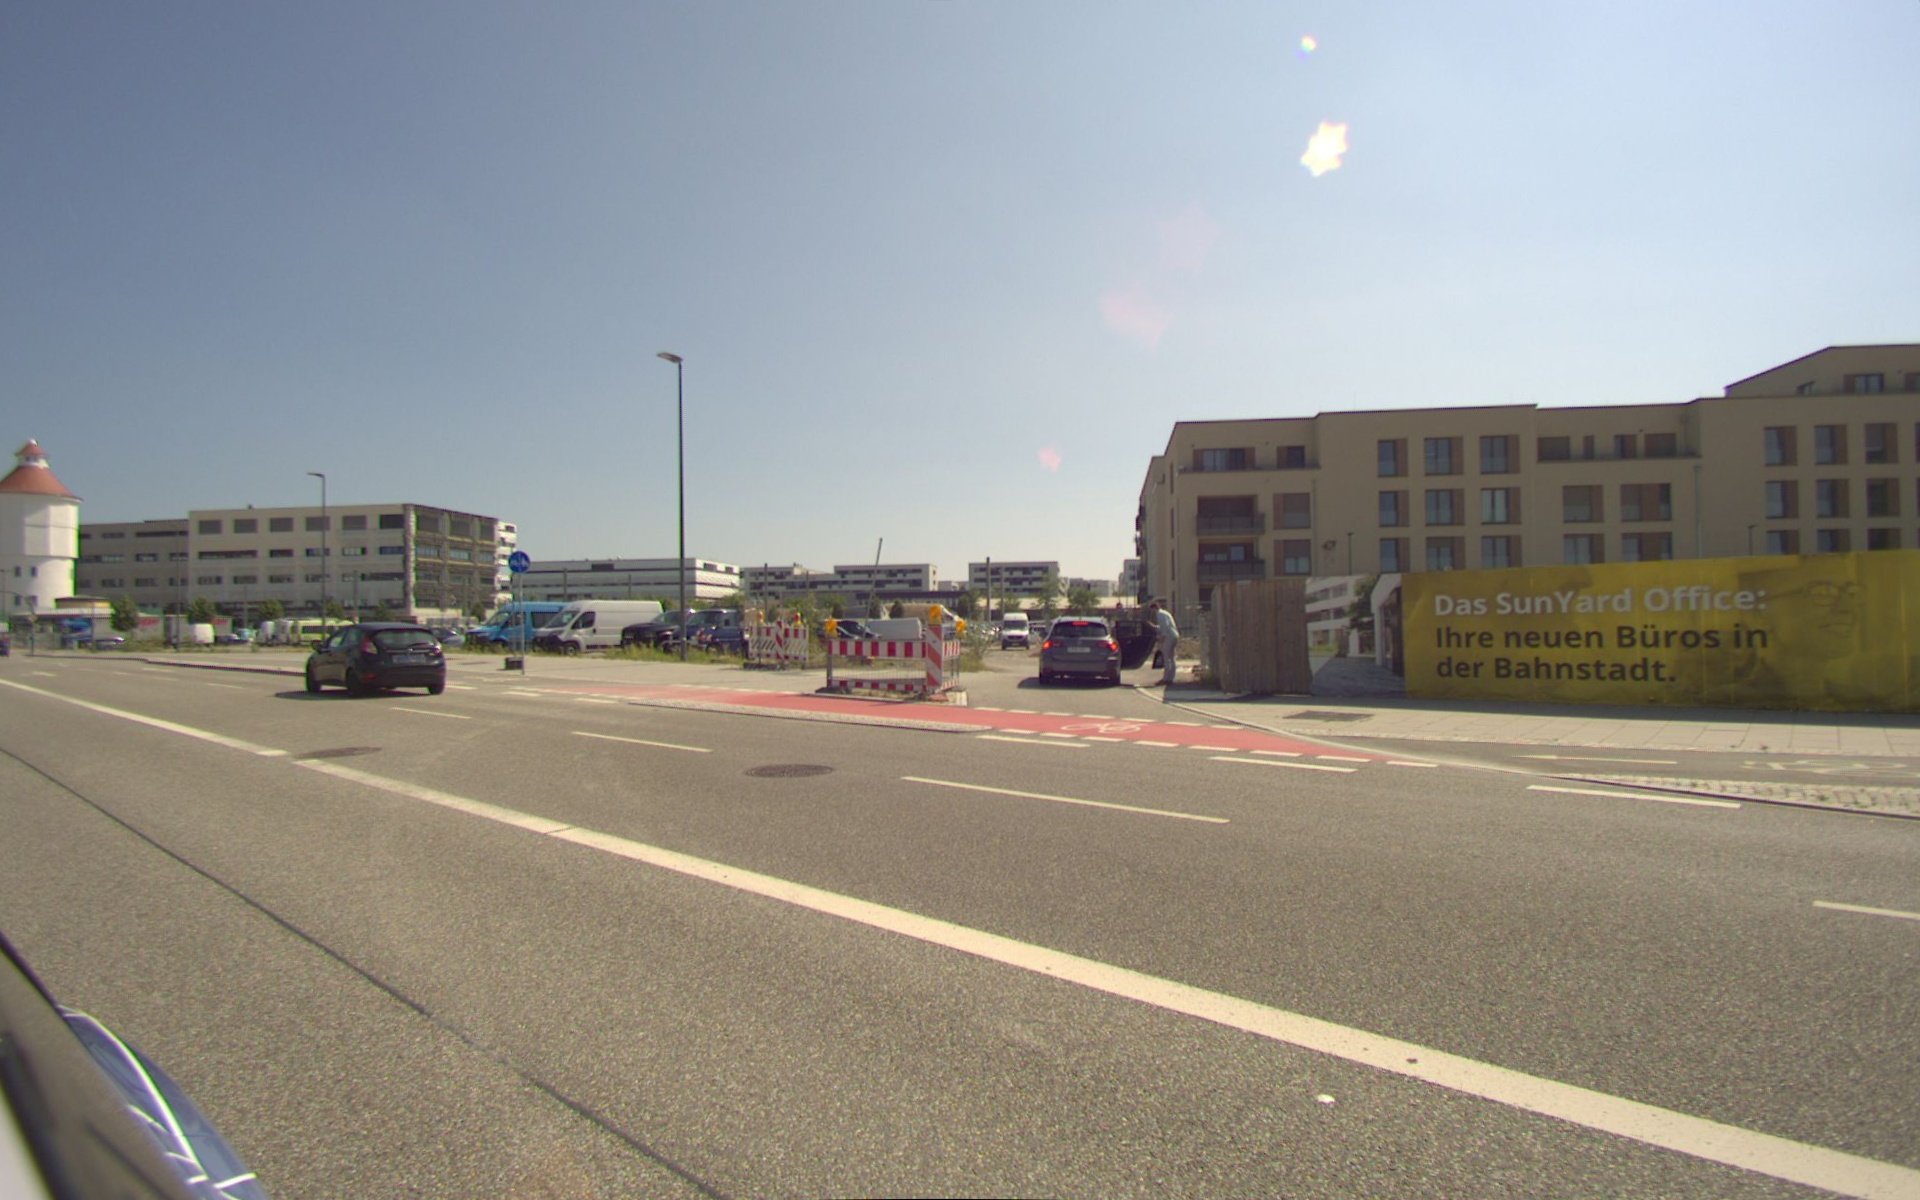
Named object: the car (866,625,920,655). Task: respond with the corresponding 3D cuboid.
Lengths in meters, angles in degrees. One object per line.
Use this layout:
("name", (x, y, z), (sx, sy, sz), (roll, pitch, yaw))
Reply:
("car", (-5.190, 3.131, 79.065), (3.951, 2.258, 1.996), (-1, -2, 6))

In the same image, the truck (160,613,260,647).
("truck", (-105.203, 4.164, 142.167), (3.331, 4.307, 10.840), (-1, 0, 29))

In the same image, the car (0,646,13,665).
("car", (-84.594, 4.855, 88.711), (4.385, 1.640, 1.882), (-3, -3, 42))

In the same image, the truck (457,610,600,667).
("truck", (-20.523, 1.839, 48.366), (2.274, 2.563, 5.941), (-3, -3, 41))

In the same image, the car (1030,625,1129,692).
("car", (2.635, 1.267, 22.692), (1.975, 1.328, 4.239), (-1, -2, 6))

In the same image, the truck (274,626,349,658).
("truck", (-64.367, 4.094, 100.579), (2.568, 2.845, 5.776), (-1, 1, 40))

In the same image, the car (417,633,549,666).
("car", (-23.501, 2.429, 50.109), (2.104, 1.485, 5.595), (-2, -2, 39))

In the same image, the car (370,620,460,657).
("car", (-28.936, 2.032, 53.782), (3.938, 1.918, 1.830), (1, -3, -42))

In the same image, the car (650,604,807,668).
("car", (-8.418, 1.312, 37.281), (2.392, 2.190, 5.391), (-3, -3, 37))

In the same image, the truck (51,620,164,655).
("truck", (-110.534, 4.801, 131.509), (3.281, 4.098, 10.895), (-1, 0, 23))

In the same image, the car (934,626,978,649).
("car", (-0.374, 3.574, 97.399), (3.959, 2.029, 1.992), (-2, -1, 12))

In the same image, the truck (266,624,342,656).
("truck", (-67.532, 4.098, 104.241), (2.570, 2.923, 6.080), (-1, 1, 42))

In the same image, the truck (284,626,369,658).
("truck", (-61.815, 4.050, 98.861), (2.599, 2.847, 6.572), (-3, -1, 38))

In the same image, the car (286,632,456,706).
("car", (-12.157, 1.351, 20.770), (4.454, 1.362, 1.686), (-2, -3, 41))

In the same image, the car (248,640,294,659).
("car", (-74.226, 5.323, 109.039), (1.654, 1.771, 3.830), (-3, -1, 37))

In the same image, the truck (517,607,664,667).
("truck", (-15.598, 1.576, 43.035), (2.273, 2.381, 5.511), (-3, -3, 39))

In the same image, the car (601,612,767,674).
("car", (-10.461, 1.593, 38.757), (2.395, 2.182, 5.819), (-2, -2, 42))

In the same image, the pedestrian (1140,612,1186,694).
("pedestrian", (4.353, 1.109, 21.688), (0.676, 1.696, 0.758), (-1, 0, -14))

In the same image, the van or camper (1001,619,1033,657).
("van or camper", (3.979, 2.693, 71.664), (1.909, 2.578, 5.927), (-1, -2, 0))

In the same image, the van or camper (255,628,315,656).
("van or camper", (-71.137, 4.393, 106.747), (2.258, 2.682, 4.849), (-3, -2, 41))

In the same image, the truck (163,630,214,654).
("truck", (-86.506, 4.700, 113.481), (5.914, 2.675, 2.154), (-2, -2, 26))
